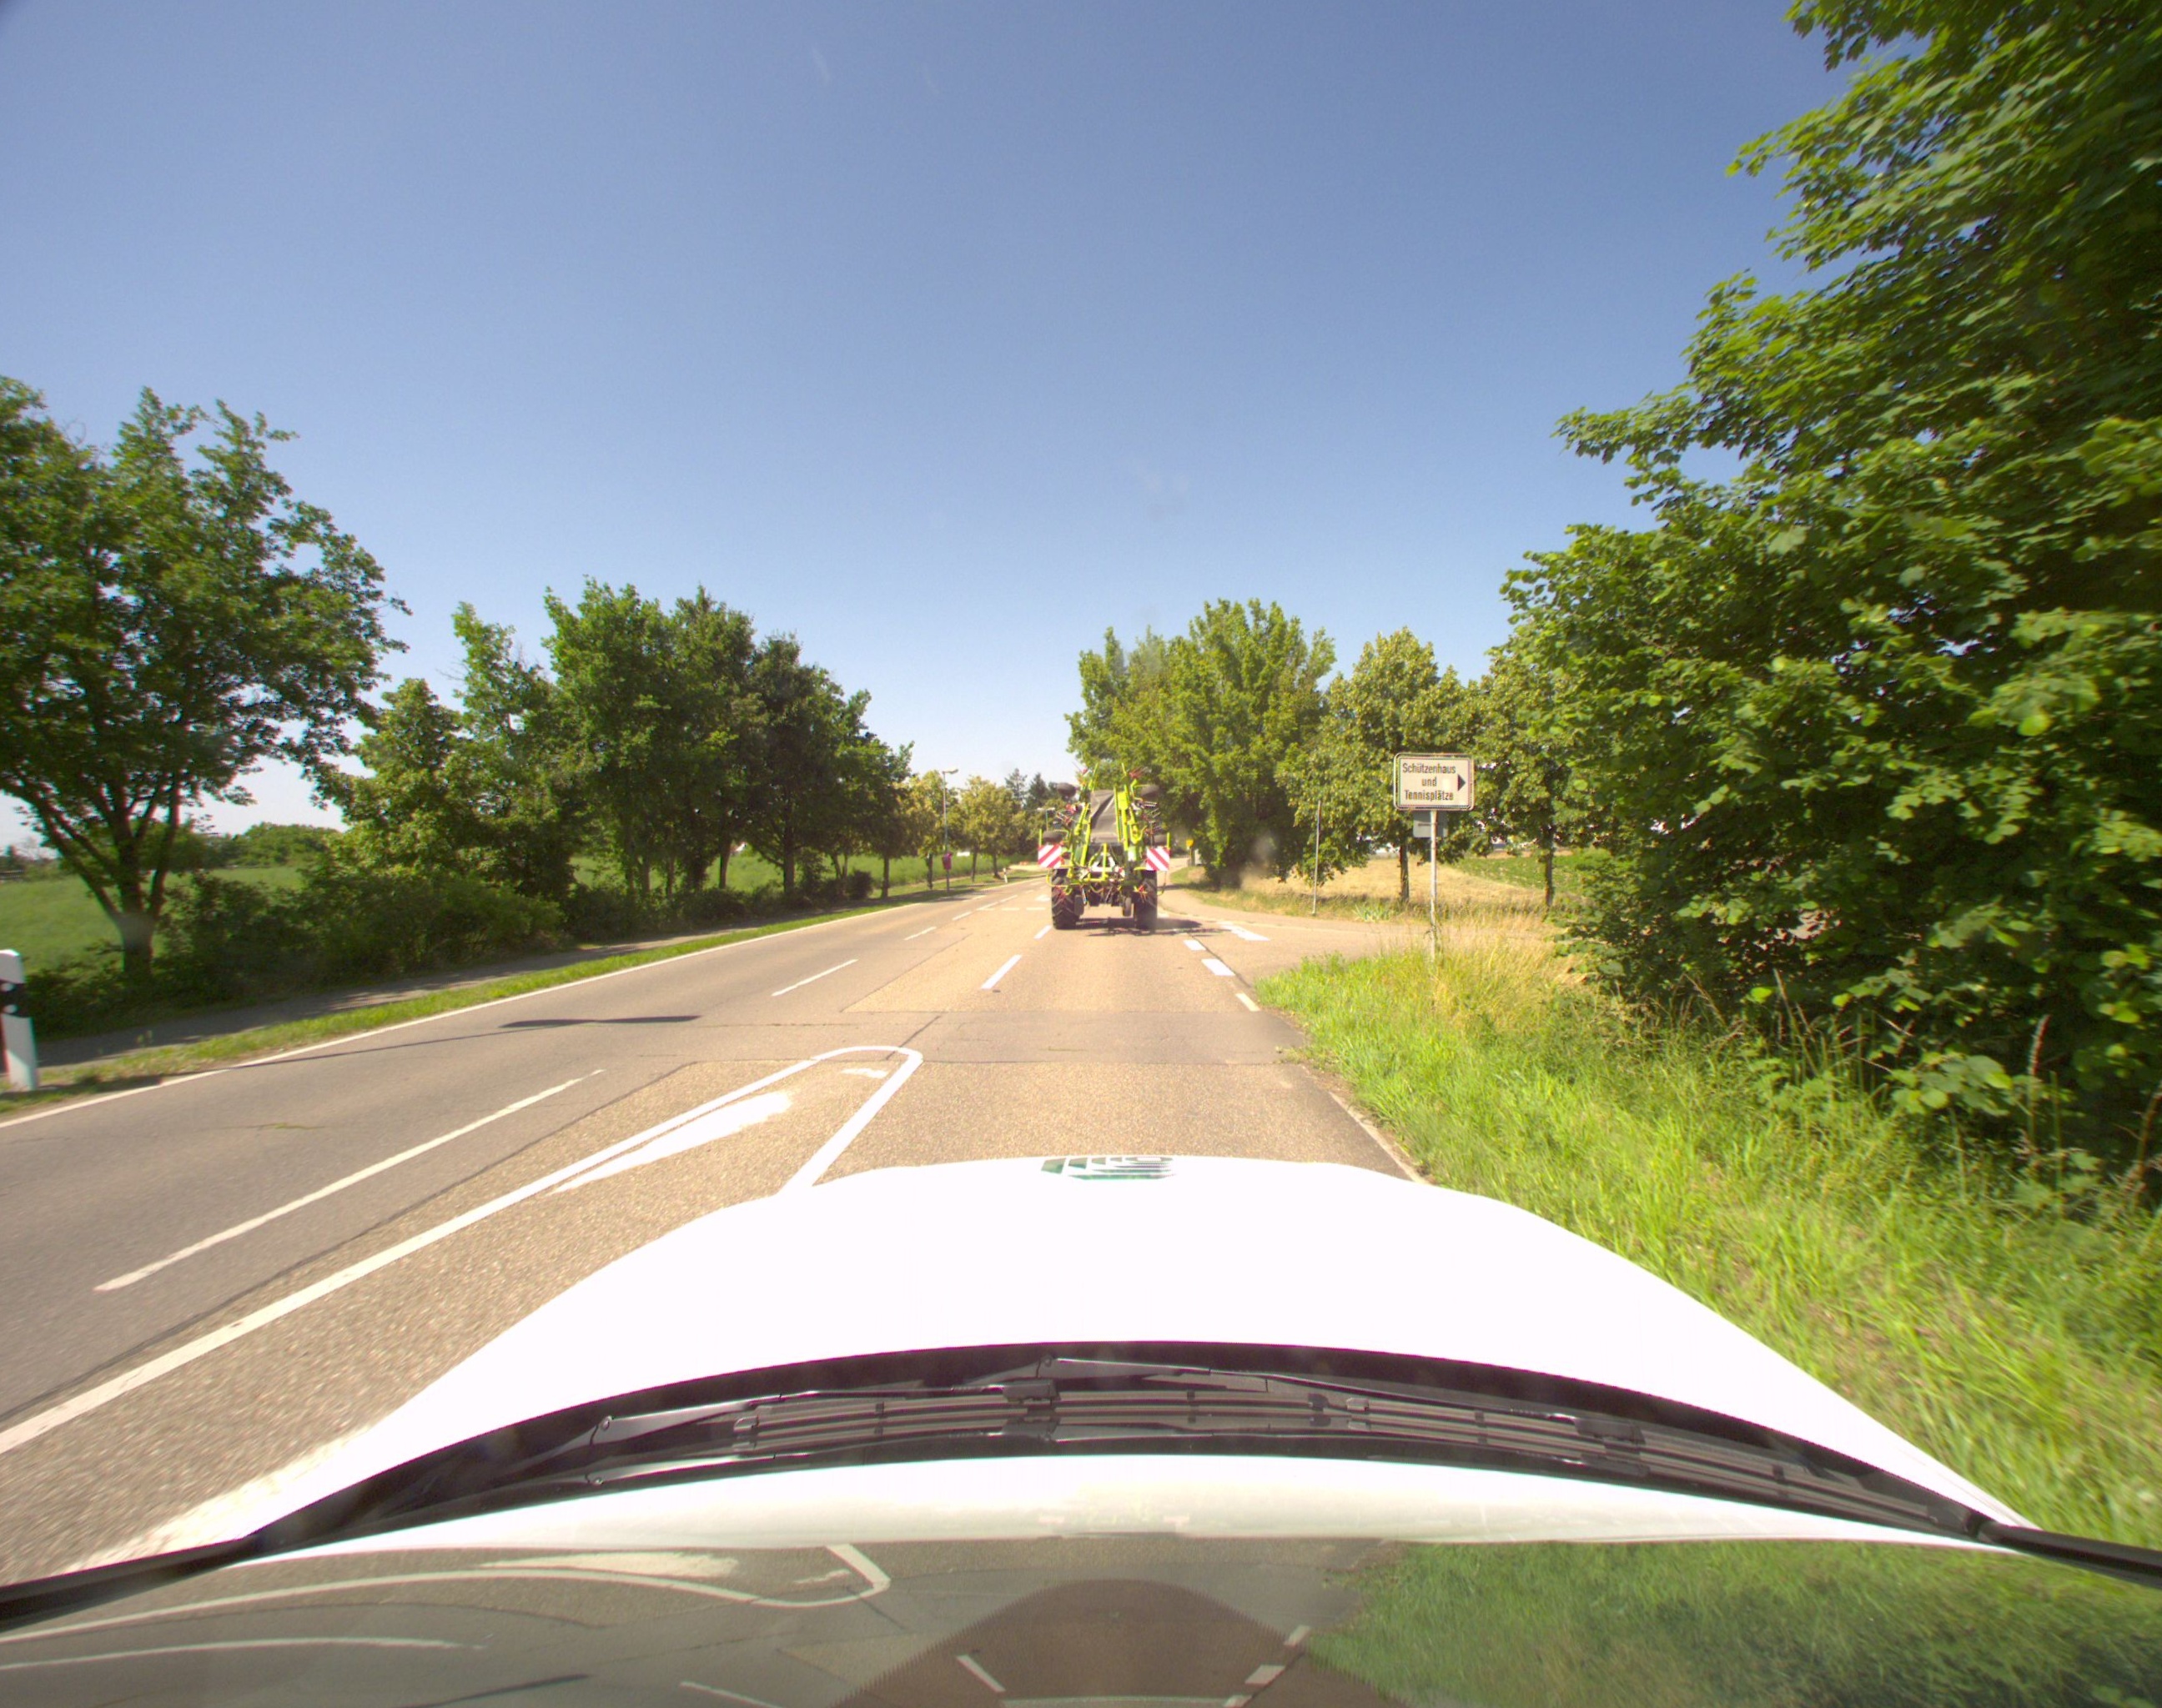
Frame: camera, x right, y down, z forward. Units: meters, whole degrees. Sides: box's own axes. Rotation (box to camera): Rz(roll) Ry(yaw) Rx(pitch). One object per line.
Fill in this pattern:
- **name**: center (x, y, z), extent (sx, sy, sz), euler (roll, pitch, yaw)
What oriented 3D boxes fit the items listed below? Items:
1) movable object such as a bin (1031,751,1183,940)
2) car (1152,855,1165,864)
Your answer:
- **movable object such as a bin**: center (0.620, -0.116, 20.293), extent (2.842, 3.542, 9.703), euler (-1, -1, 1)
- **car**: center (12.712, 0.866, 133.469), extent (1.638, 1.434, 3.908), euler (2, 0, 11)
